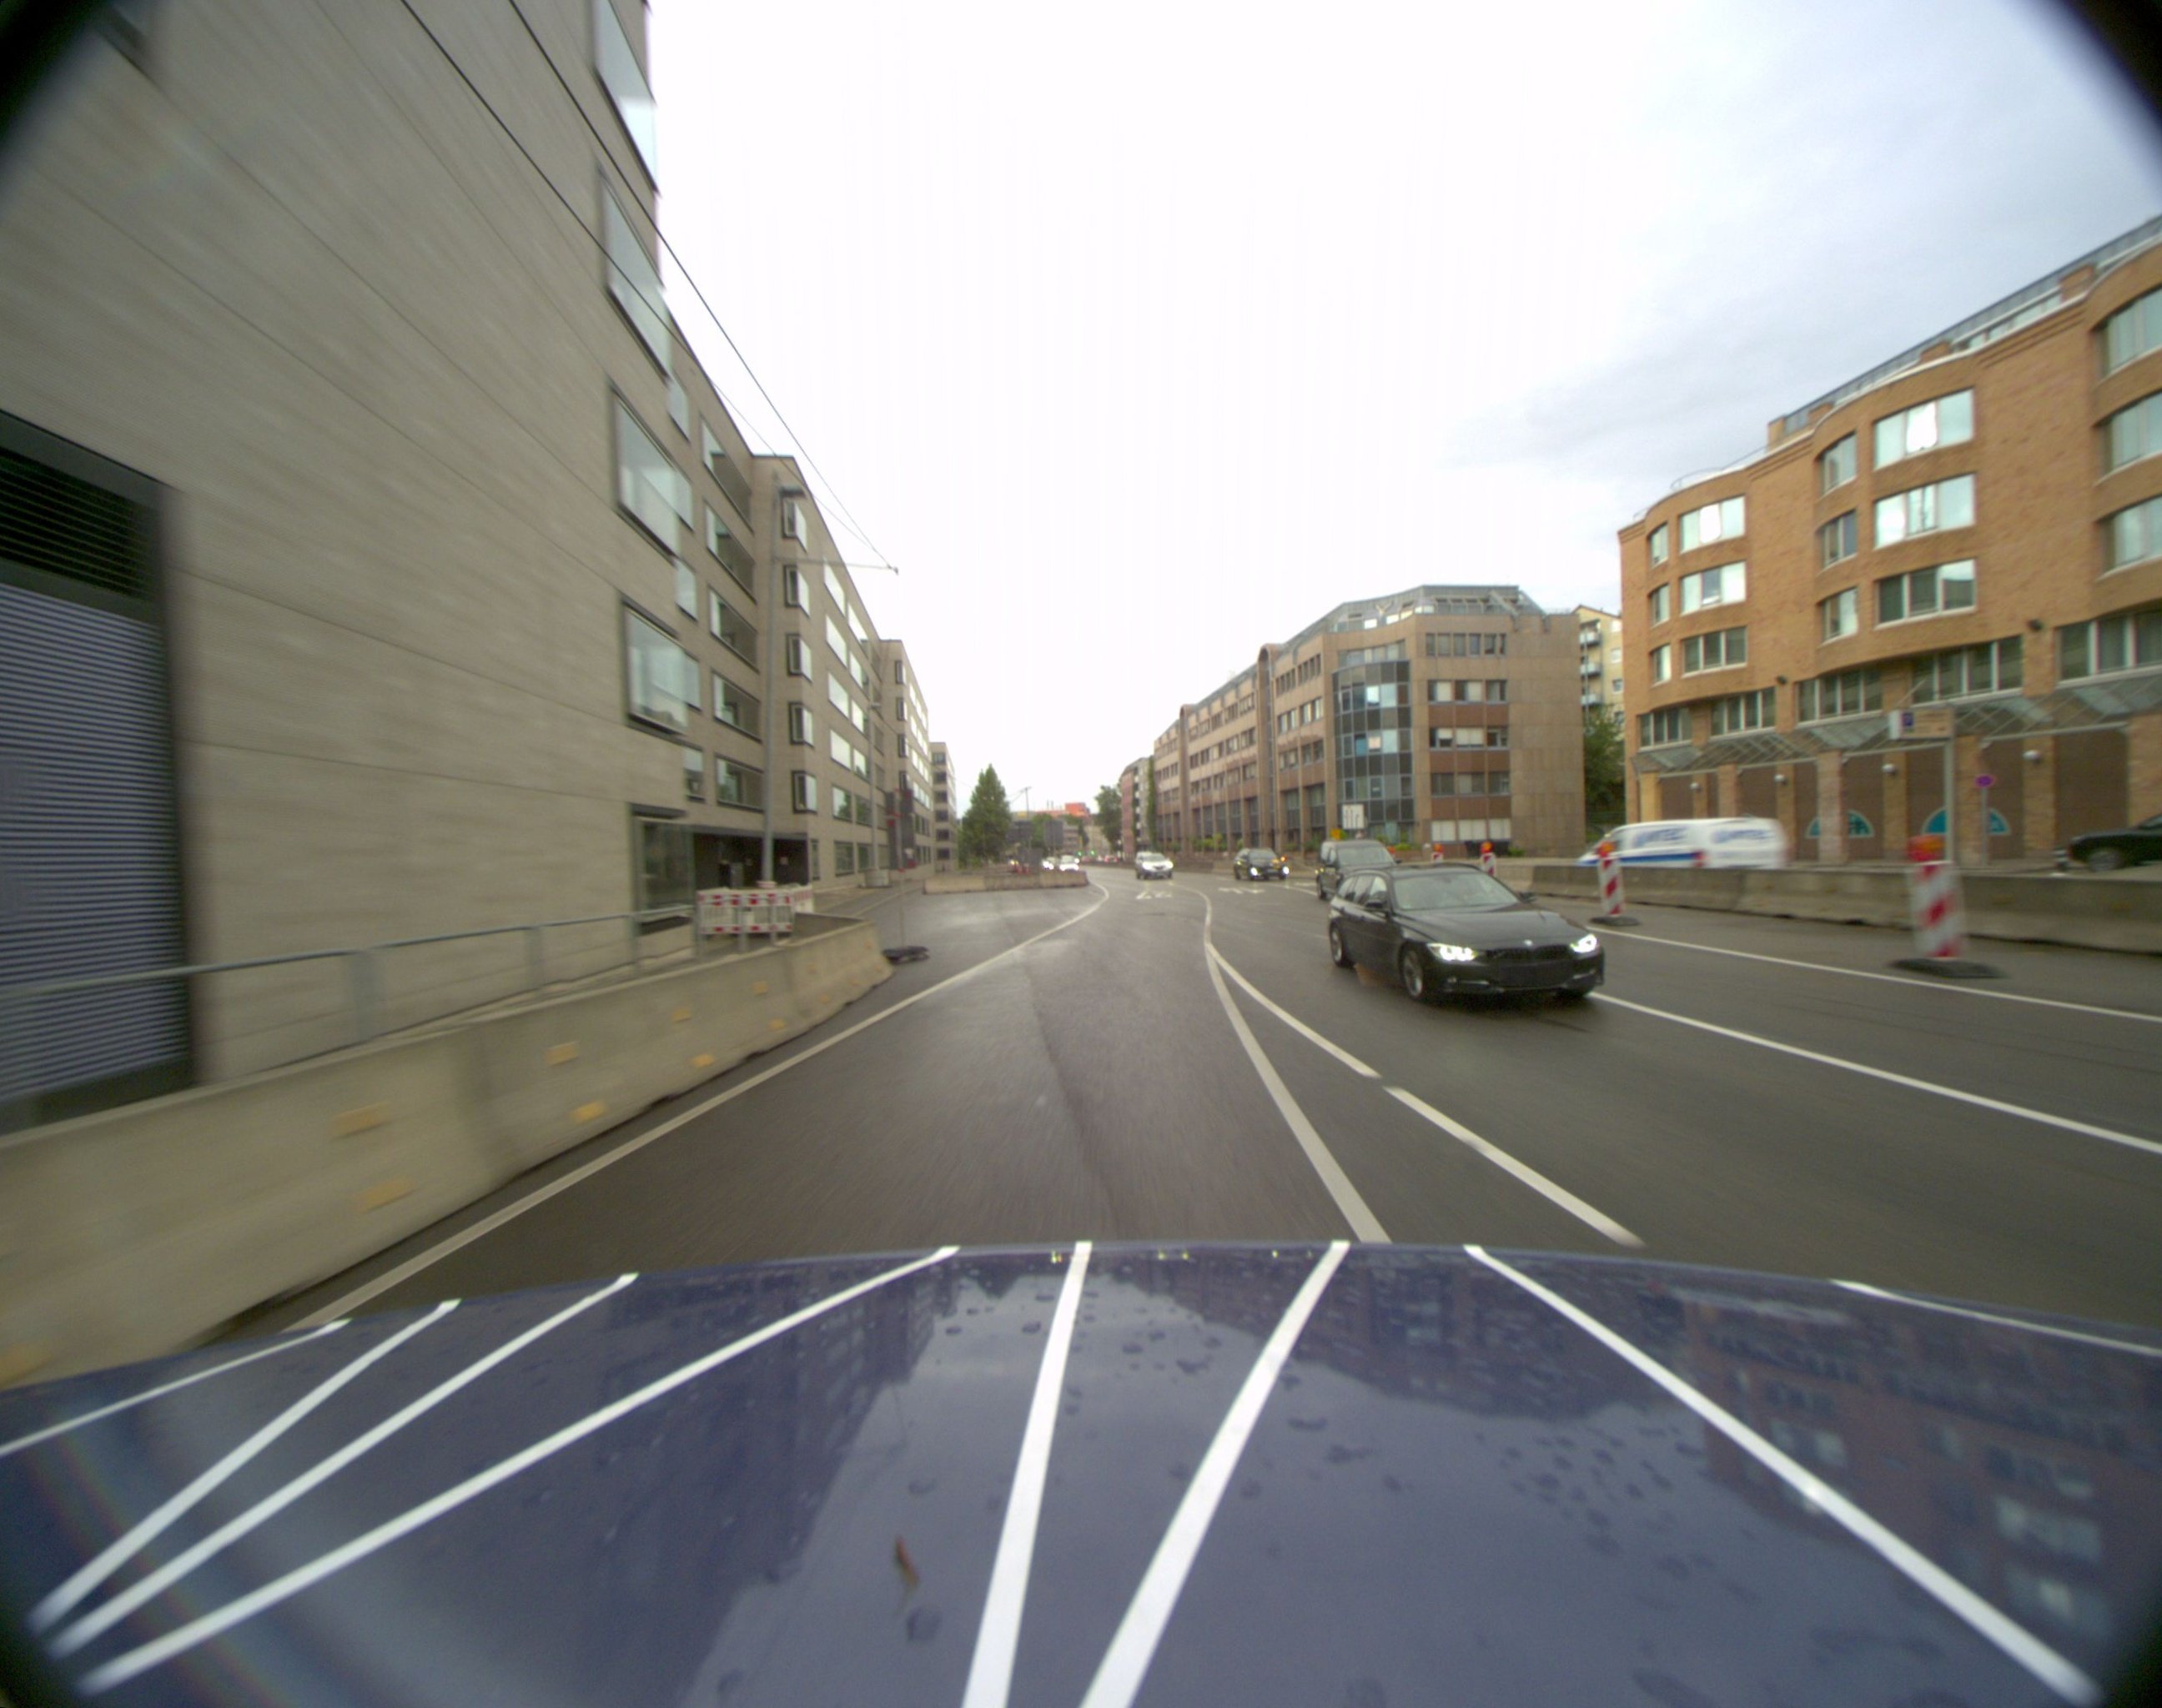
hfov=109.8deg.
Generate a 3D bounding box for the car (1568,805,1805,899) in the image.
[{"bbox_3d":[14.209,-0.083,18.314,1.998,1.874,4.870,-3,1,3],"label":"car"}]

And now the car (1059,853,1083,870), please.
[{"bbox_3d":[-1.056,0.752,75.766,1.773,1.525,4.653,-3,1,-7],"label":"car"}]

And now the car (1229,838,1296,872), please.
[{"bbox_3d":[8.970,0.043,37.963,1.773,1.525,4.353,-3,1,-7],"label":"car"}]

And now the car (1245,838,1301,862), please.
[{"bbox_3d":[12.665,-0.276,50.337,2.000,1.451,4.224,-3,1,-10],"label":"car"}]

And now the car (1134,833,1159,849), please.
[{"bbox_3d":[8.039,-1.568,94.137,1.892,1.773,4.872,-3,1,-9],"label":"car"}]

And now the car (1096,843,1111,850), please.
[{"bbox_3d":[4.110,-1.339,139.464,1.850,1.262,4.545,-3,1,-10],"label":"car"}]

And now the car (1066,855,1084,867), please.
[{"bbox_3d":[-0.831,0.939,102.876,1.773,1.525,4.653,-3,1,-7],"label":"car"}]

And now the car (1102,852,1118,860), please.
[{"bbox_3d":[4.306,0.284,113.068,1.618,1.224,3.723,-3,1,-10],"label":"car"}]

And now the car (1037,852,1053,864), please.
[{"bbox_3d":[-5.071,0.578,106.387,1.773,1.525,4.653,-3,1,-7],"label":"car"}]

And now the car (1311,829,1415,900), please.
[{"bbox_3d":[8.031,0.243,22.066,1.798,1.790,4.252,-3,1,7],"label":"car"}]

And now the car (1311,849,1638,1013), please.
[{"bbox_3d":[4.382,0.710,9.427,1.772,1.435,4.656,-3,1,3],"label":"car"}]

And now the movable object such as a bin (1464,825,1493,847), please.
[{"bbox_3d":[28.123,-1.238,53.769,1.246,1.471,1.350,-3,1,0],"label":"movable object such as a bin"}]

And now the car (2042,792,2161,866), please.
[{"bbox_3d":[28.605,-0.689,19.190,2.000,1.875,5.010,-3,1,-9],"label":"car"}]

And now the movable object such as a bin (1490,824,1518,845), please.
[{"bbox_3d":[29.951,-1.373,53.819,1.246,1.471,1.350,-3,1,0],"label":"movable object such as a bin"}]

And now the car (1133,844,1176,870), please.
[{"bbox_3d":[4.733,0.163,49.617,1.773,1.525,4.653,-3,1,-7],"label":"car"}]

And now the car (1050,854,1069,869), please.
[{"bbox_3d":[-2.571,0.869,88.937,1.773,1.525,4.653,-3,1,-7],"label":"car"}]

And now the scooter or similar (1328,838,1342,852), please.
[{"bbox_3d":[18.953,-0.680,56.707,0.450,1.057,1.043,-3,1,-18],"label":"scooter or similar"}]
